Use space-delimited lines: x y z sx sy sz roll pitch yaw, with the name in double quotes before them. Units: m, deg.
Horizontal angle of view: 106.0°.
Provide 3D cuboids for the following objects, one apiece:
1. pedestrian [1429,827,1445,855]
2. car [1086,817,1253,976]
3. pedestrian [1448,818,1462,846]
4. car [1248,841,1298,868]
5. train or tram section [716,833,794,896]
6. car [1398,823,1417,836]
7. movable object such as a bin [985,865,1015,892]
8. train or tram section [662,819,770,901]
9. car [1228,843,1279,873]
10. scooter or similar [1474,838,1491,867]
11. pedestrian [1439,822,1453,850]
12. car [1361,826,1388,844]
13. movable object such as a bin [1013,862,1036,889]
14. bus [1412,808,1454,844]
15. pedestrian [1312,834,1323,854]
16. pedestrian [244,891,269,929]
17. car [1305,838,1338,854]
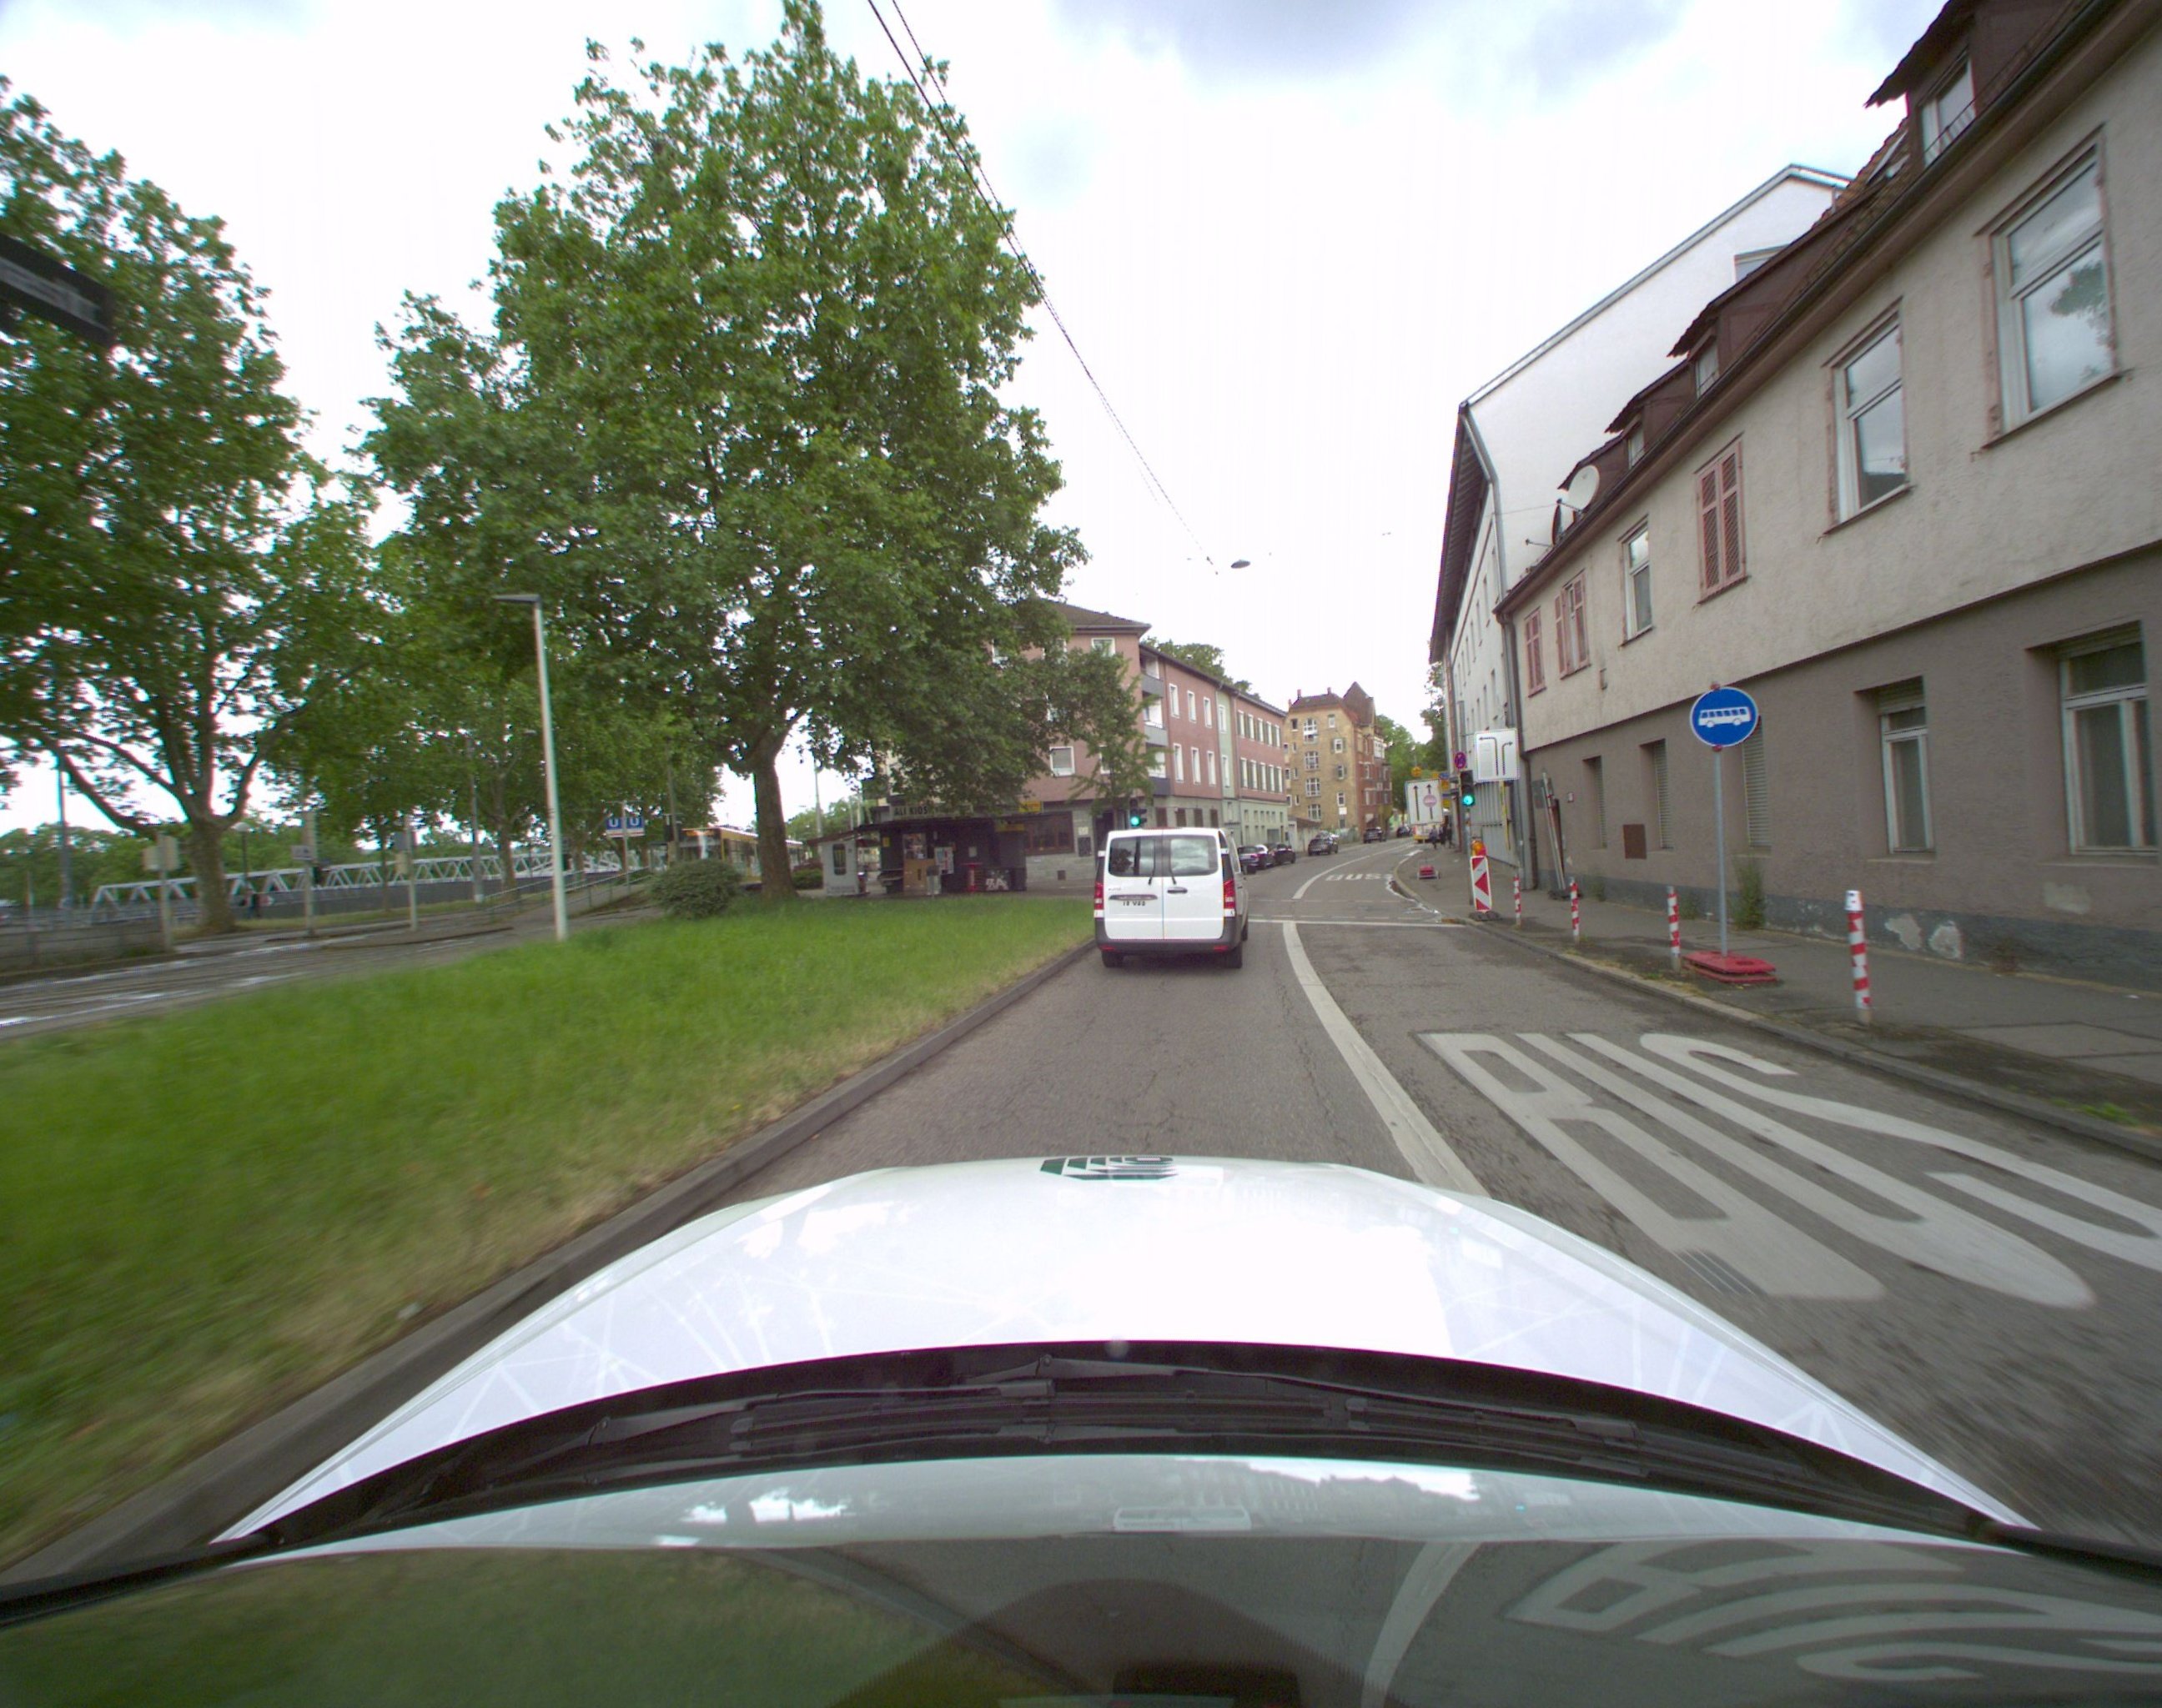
"pedestrian" 23.910 -0.885 54.758 0.796 1.793 0.948 -6 0 22
"car" 1.541 0.513 12.224 1.904 1.901 4.718 -1 0 13
"pedestrian" 24.223 -1.412 52.761 0.537 1.756 0.612 -6 0 36
"car" 12.319 0.004 52.037 1.811 1.455 4.952 -4 0 28
"train or tram section" -21.016 0.758 53.164 2.918 3.672 10.957 0 -2 -12
"car" 45.767 -3.480 114.119 1.708 1.485 4.419 -3 3 30
"movable object such as a bin" -3.114 0.933 31.220 0.966 0.964 1.107 0 1 -15
"train or tram section" -18.676 0.422 42.467 2.918 3.672 10.957 0 -2 -12
"car" 10.016 0.192 46.962 1.812 1.455 4.611 -4 0 25
"scooter or similar" 16.178 -0.080 32.846 0.424 1.097 1.447 -6 0 22
"pedestrian" 24.040 -1.214 53.642 0.681 1.756 0.883 -6 0 22
"car" 32.633 -2.099 90.490 1.935 1.733 4.804 -3 1 29
"movable object such as a bin" -2.186 0.829 31.451 0.672 0.964 1.074 0 1 -15
"bus" 33.652 -2.752 77.609 2.637 3.135 10.104 -1 2 29
"pedestrian" 21.418 -0.907 73.614 0.754 1.744 0.990 -1 0 26
"pedestrian" -36.605 2.486 36.165 0.670 1.623 0.528 1 -2 -36
"car" 19.632 -0.646 66.458 1.975 1.290 4.023 -1 0 25
